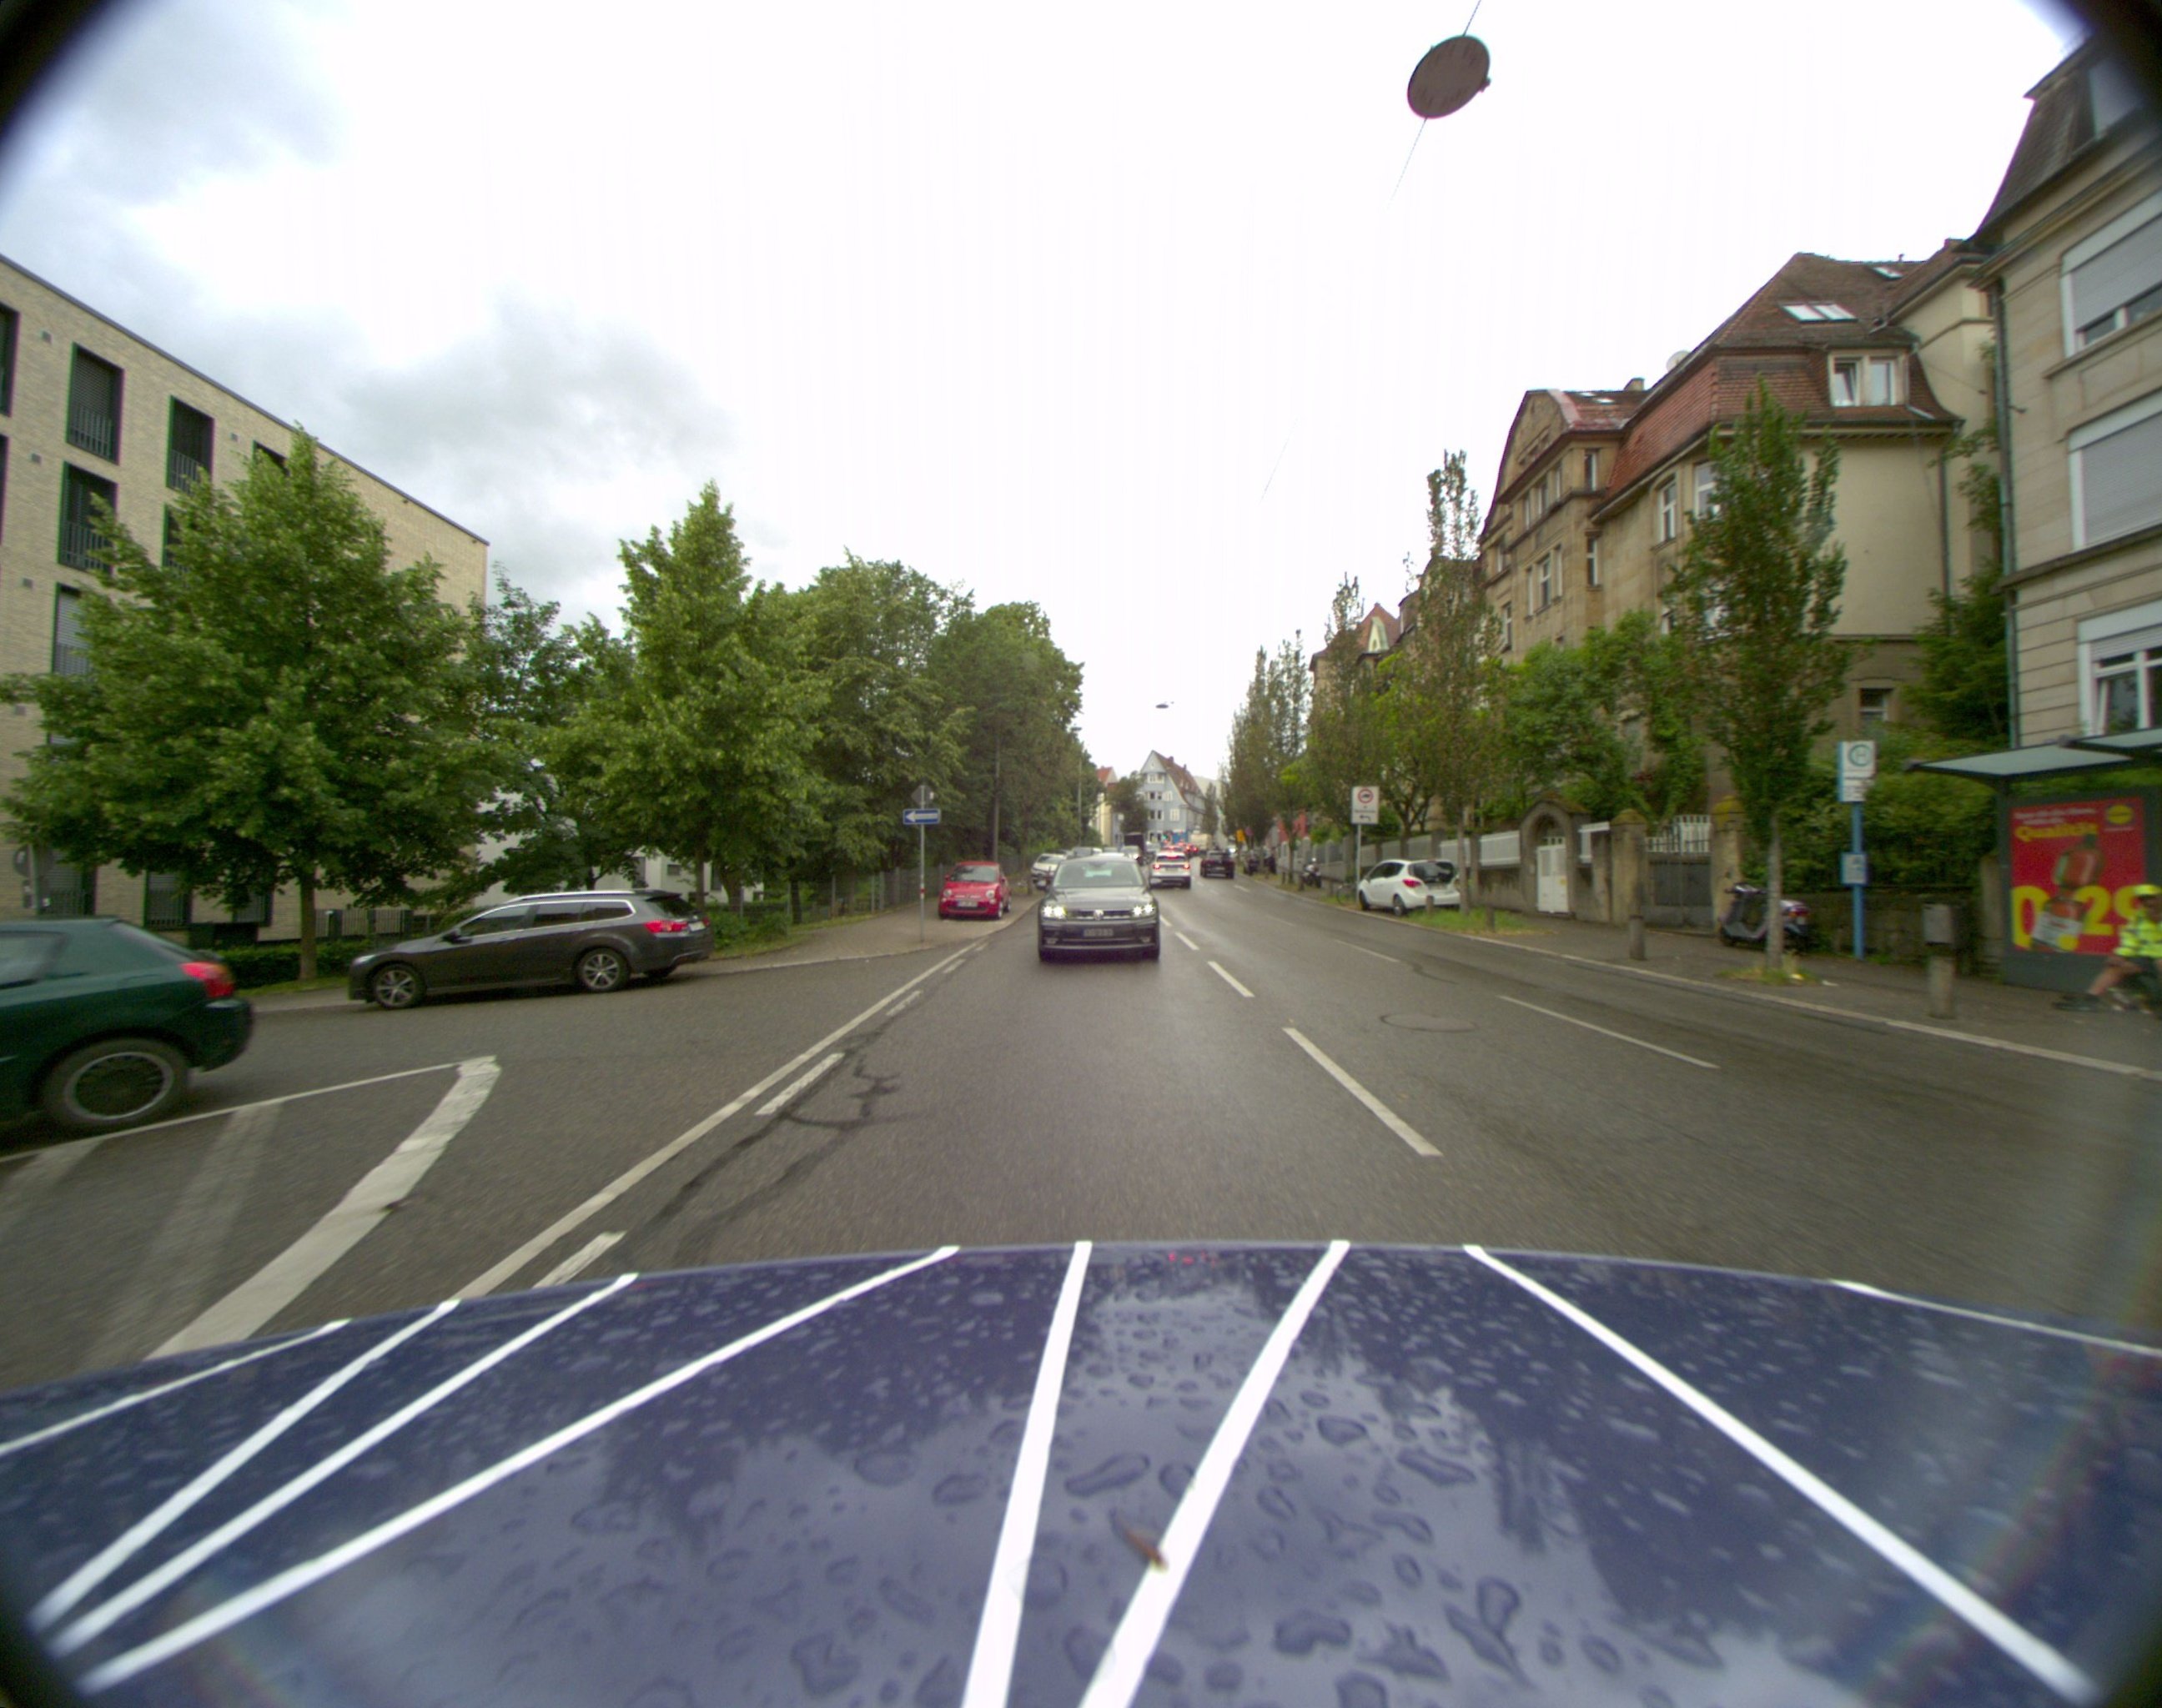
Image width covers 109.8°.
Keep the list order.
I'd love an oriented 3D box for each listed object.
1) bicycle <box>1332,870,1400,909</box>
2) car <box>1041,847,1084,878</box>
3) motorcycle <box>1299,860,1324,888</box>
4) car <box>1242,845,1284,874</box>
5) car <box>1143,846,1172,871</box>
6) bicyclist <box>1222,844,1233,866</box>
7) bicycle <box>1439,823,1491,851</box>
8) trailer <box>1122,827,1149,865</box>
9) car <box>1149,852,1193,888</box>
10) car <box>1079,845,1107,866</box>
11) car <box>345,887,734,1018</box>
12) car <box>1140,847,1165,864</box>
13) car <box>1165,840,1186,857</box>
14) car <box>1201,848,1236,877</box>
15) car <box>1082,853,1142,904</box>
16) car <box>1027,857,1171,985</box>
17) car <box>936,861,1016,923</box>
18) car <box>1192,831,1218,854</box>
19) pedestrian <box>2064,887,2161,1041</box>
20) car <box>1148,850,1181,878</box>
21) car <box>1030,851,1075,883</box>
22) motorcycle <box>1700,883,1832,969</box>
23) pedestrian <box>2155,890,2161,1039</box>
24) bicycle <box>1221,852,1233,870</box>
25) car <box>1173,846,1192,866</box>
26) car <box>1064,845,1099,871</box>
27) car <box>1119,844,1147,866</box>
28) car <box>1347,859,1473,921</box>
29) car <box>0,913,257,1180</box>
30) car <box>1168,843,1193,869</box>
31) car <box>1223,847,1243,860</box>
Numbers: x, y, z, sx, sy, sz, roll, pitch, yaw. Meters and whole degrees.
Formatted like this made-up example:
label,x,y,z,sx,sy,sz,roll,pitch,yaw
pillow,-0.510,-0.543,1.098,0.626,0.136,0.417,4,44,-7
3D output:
label,x,y,z,sx,sy,sz,roll,pitch,yaw
bicycle,9.429,1.167,25.152,1.980,1.228,0.657,0,1,1
car,-1.047,0.461,45.657,1.924,1.641,4.885,3,1,5
motorcycle,10.485,0.903,34.584,0.657,1.228,1.982,0,0,4
car,11.370,0.309,47.636,2.000,1.586,3.829,-3,1,6
car,4.956,0.291,48.656,1.715,1.471,4.116,2,0,7
bicyclist,10.581,0.056,55.011,0.657,1.548,0.991,0,1,5
bicycle,17.203,-0.776,34.093,1.980,1.228,0.657,0,1,1
trailer,4.568,-0.653,63.206,1.966,3.024,2.366,-2,0,7
car,4.002,0.662,34.393,1.776,1.508,4.100,0,0,4
car,1.023,0.103,61.864,1.924,1.552,4.013,3,1,5
car,-7.834,1.375,11.400,4.280,1.489,2.002,-3,-1,-4
car,7.618,0.124,80.882,1.923,1.641,4.139,-2,0,16
car,9.771,-0.507,78.023,1.620,1.652,4.118,2,0,14
car,8.041,0.469,44.663,1.747,1.509,3.870,3,2,7
car,1.110,0.803,27.616,1.925,1.641,4.486,-2,0,2
car,0.259,0.890,12.459,1.860,1.641,5.195,0,0,0
car,-2.846,0.992,21.364,1.613,1.493,3.958,1,0,1
car,14.900,-1.357,91.248,2.132,2.491,5.417,2,0,19
pedestrian,10.627,1.061,7.524,0.768,1.424,0.759,0,1,0
car,4.610,0.507,41.931,1.766,1.423,3.886,0,1,6
car,-1.444,0.647,40.248,1.745,1.454,4.884,3,1,4
motorcycle,11.143,1.126,12.444,0.657,1.230,1.763,0,1,4
pedestrian,10.684,1.060,6.944,0.768,1.424,0.649,0,1,3
bicycle,10.581,0.487,55.040,0.657,1.228,1.982,0,0,5
car,9.565,0.145,71.799,1.655,1.698,4.115,2,2,7
car,0.080,0.226,55.391,1.971,1.642,4.817,3,2,6
car,4.185,0.072,60.355,1.924,1.641,4.137,-2,0,7
car,9.477,0.966,22.297,1.746,1.550,4.301,-2,0,-1
car,-7.761,1.300,4.099,1.850,1.461,4.116,-3,2,32
car,7.146,0.083,54.670,1.655,1.698,4.115,2,2,7
car,24.086,-0.041,120.542,2.132,2.015,5.418,2,0,21
